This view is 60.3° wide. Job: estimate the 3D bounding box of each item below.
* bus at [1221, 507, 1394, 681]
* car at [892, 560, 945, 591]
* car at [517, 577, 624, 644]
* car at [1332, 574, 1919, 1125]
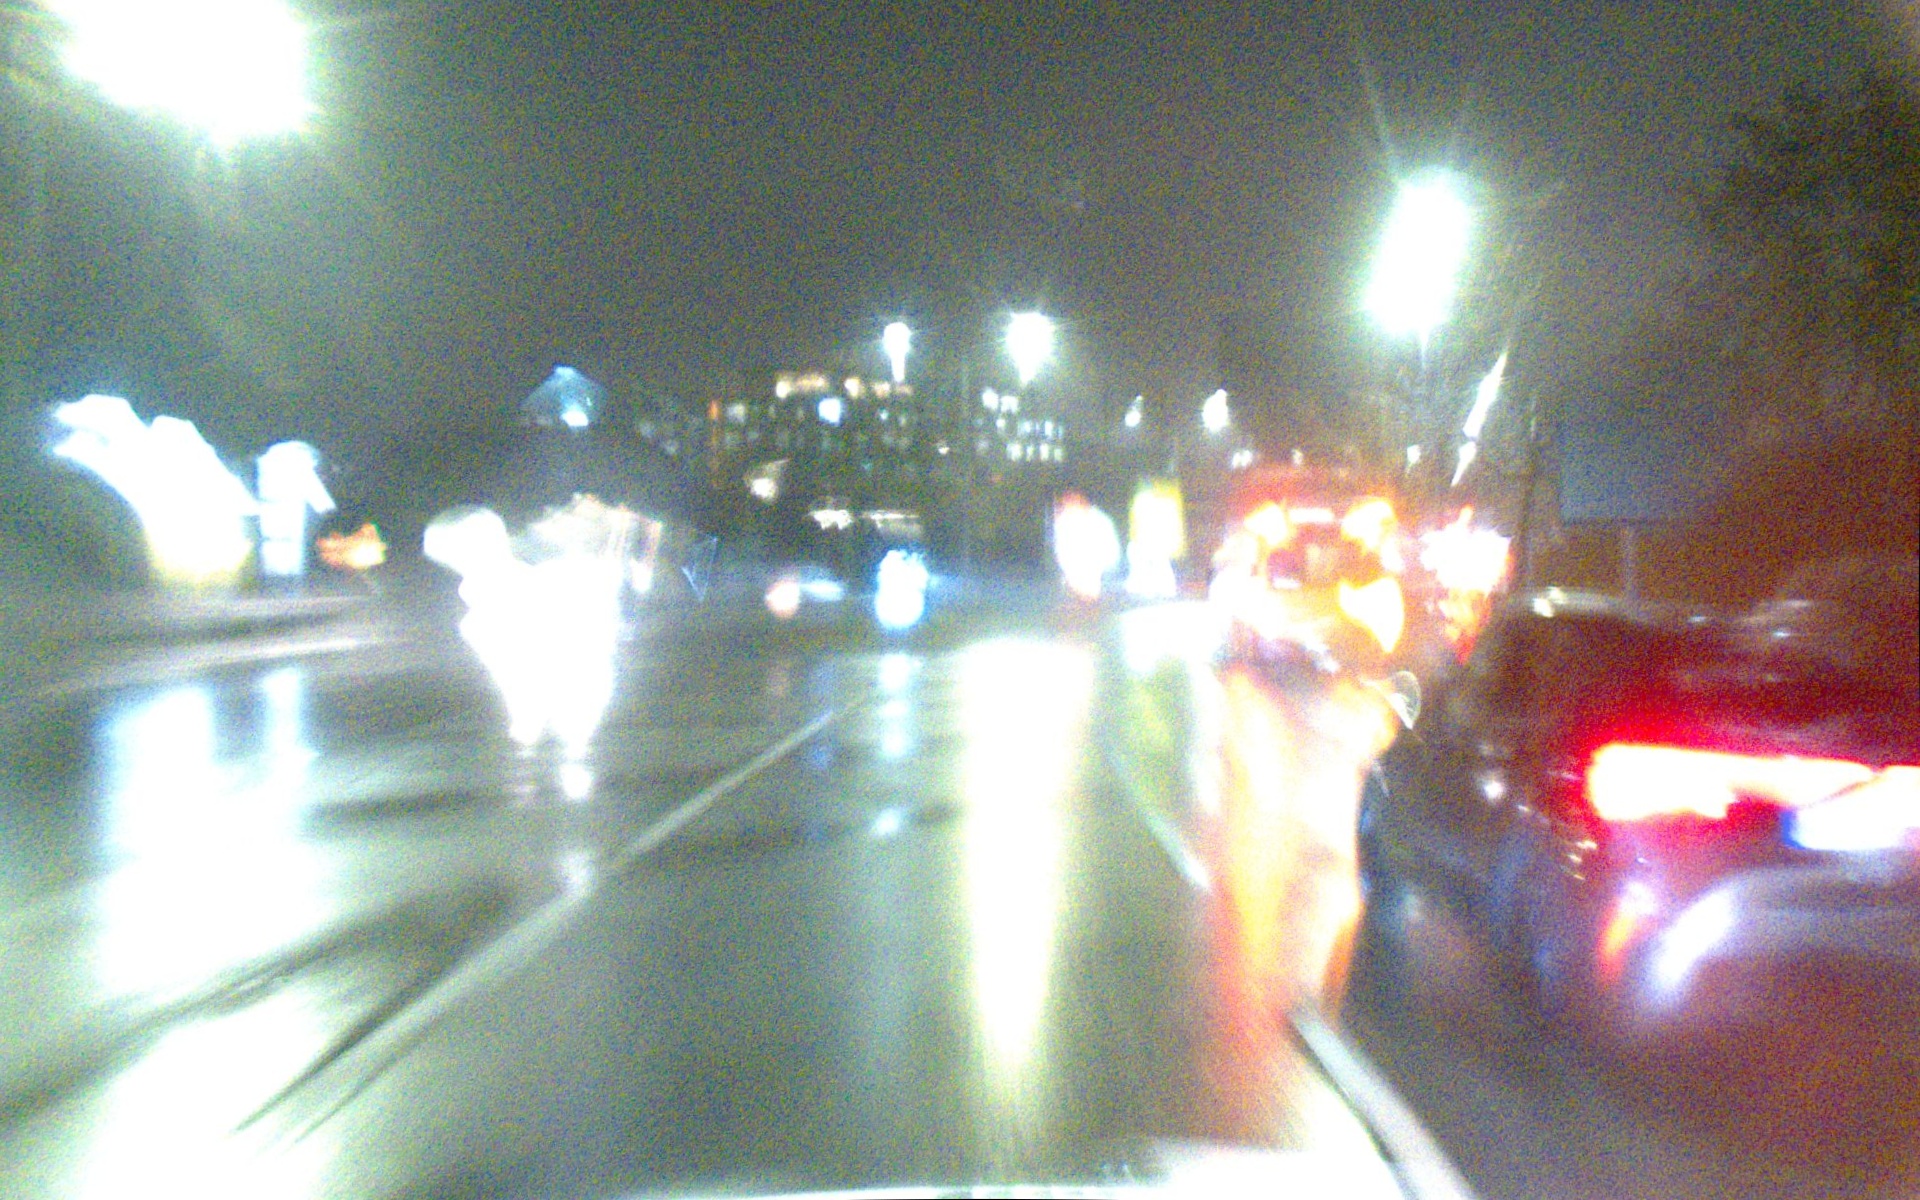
[{"bbox_3d":[7.377,-0.118,36.268,2.979,3.268,9.057,2,0,8],"label":"bus"},{"bbox_3d":[-2.241,-1.329,90.330,1.951,1.621,4.004,1,1,12],"label":"car"},{"bbox_3d":[-9.443,0.250,40.370,1.730,1.482,3.951,3,0,-2],"label":"car"},{"bbox_3d":[2.892,0.723,6.736,1.952,1.551,4.001,2,0,2],"label":"car"}]
